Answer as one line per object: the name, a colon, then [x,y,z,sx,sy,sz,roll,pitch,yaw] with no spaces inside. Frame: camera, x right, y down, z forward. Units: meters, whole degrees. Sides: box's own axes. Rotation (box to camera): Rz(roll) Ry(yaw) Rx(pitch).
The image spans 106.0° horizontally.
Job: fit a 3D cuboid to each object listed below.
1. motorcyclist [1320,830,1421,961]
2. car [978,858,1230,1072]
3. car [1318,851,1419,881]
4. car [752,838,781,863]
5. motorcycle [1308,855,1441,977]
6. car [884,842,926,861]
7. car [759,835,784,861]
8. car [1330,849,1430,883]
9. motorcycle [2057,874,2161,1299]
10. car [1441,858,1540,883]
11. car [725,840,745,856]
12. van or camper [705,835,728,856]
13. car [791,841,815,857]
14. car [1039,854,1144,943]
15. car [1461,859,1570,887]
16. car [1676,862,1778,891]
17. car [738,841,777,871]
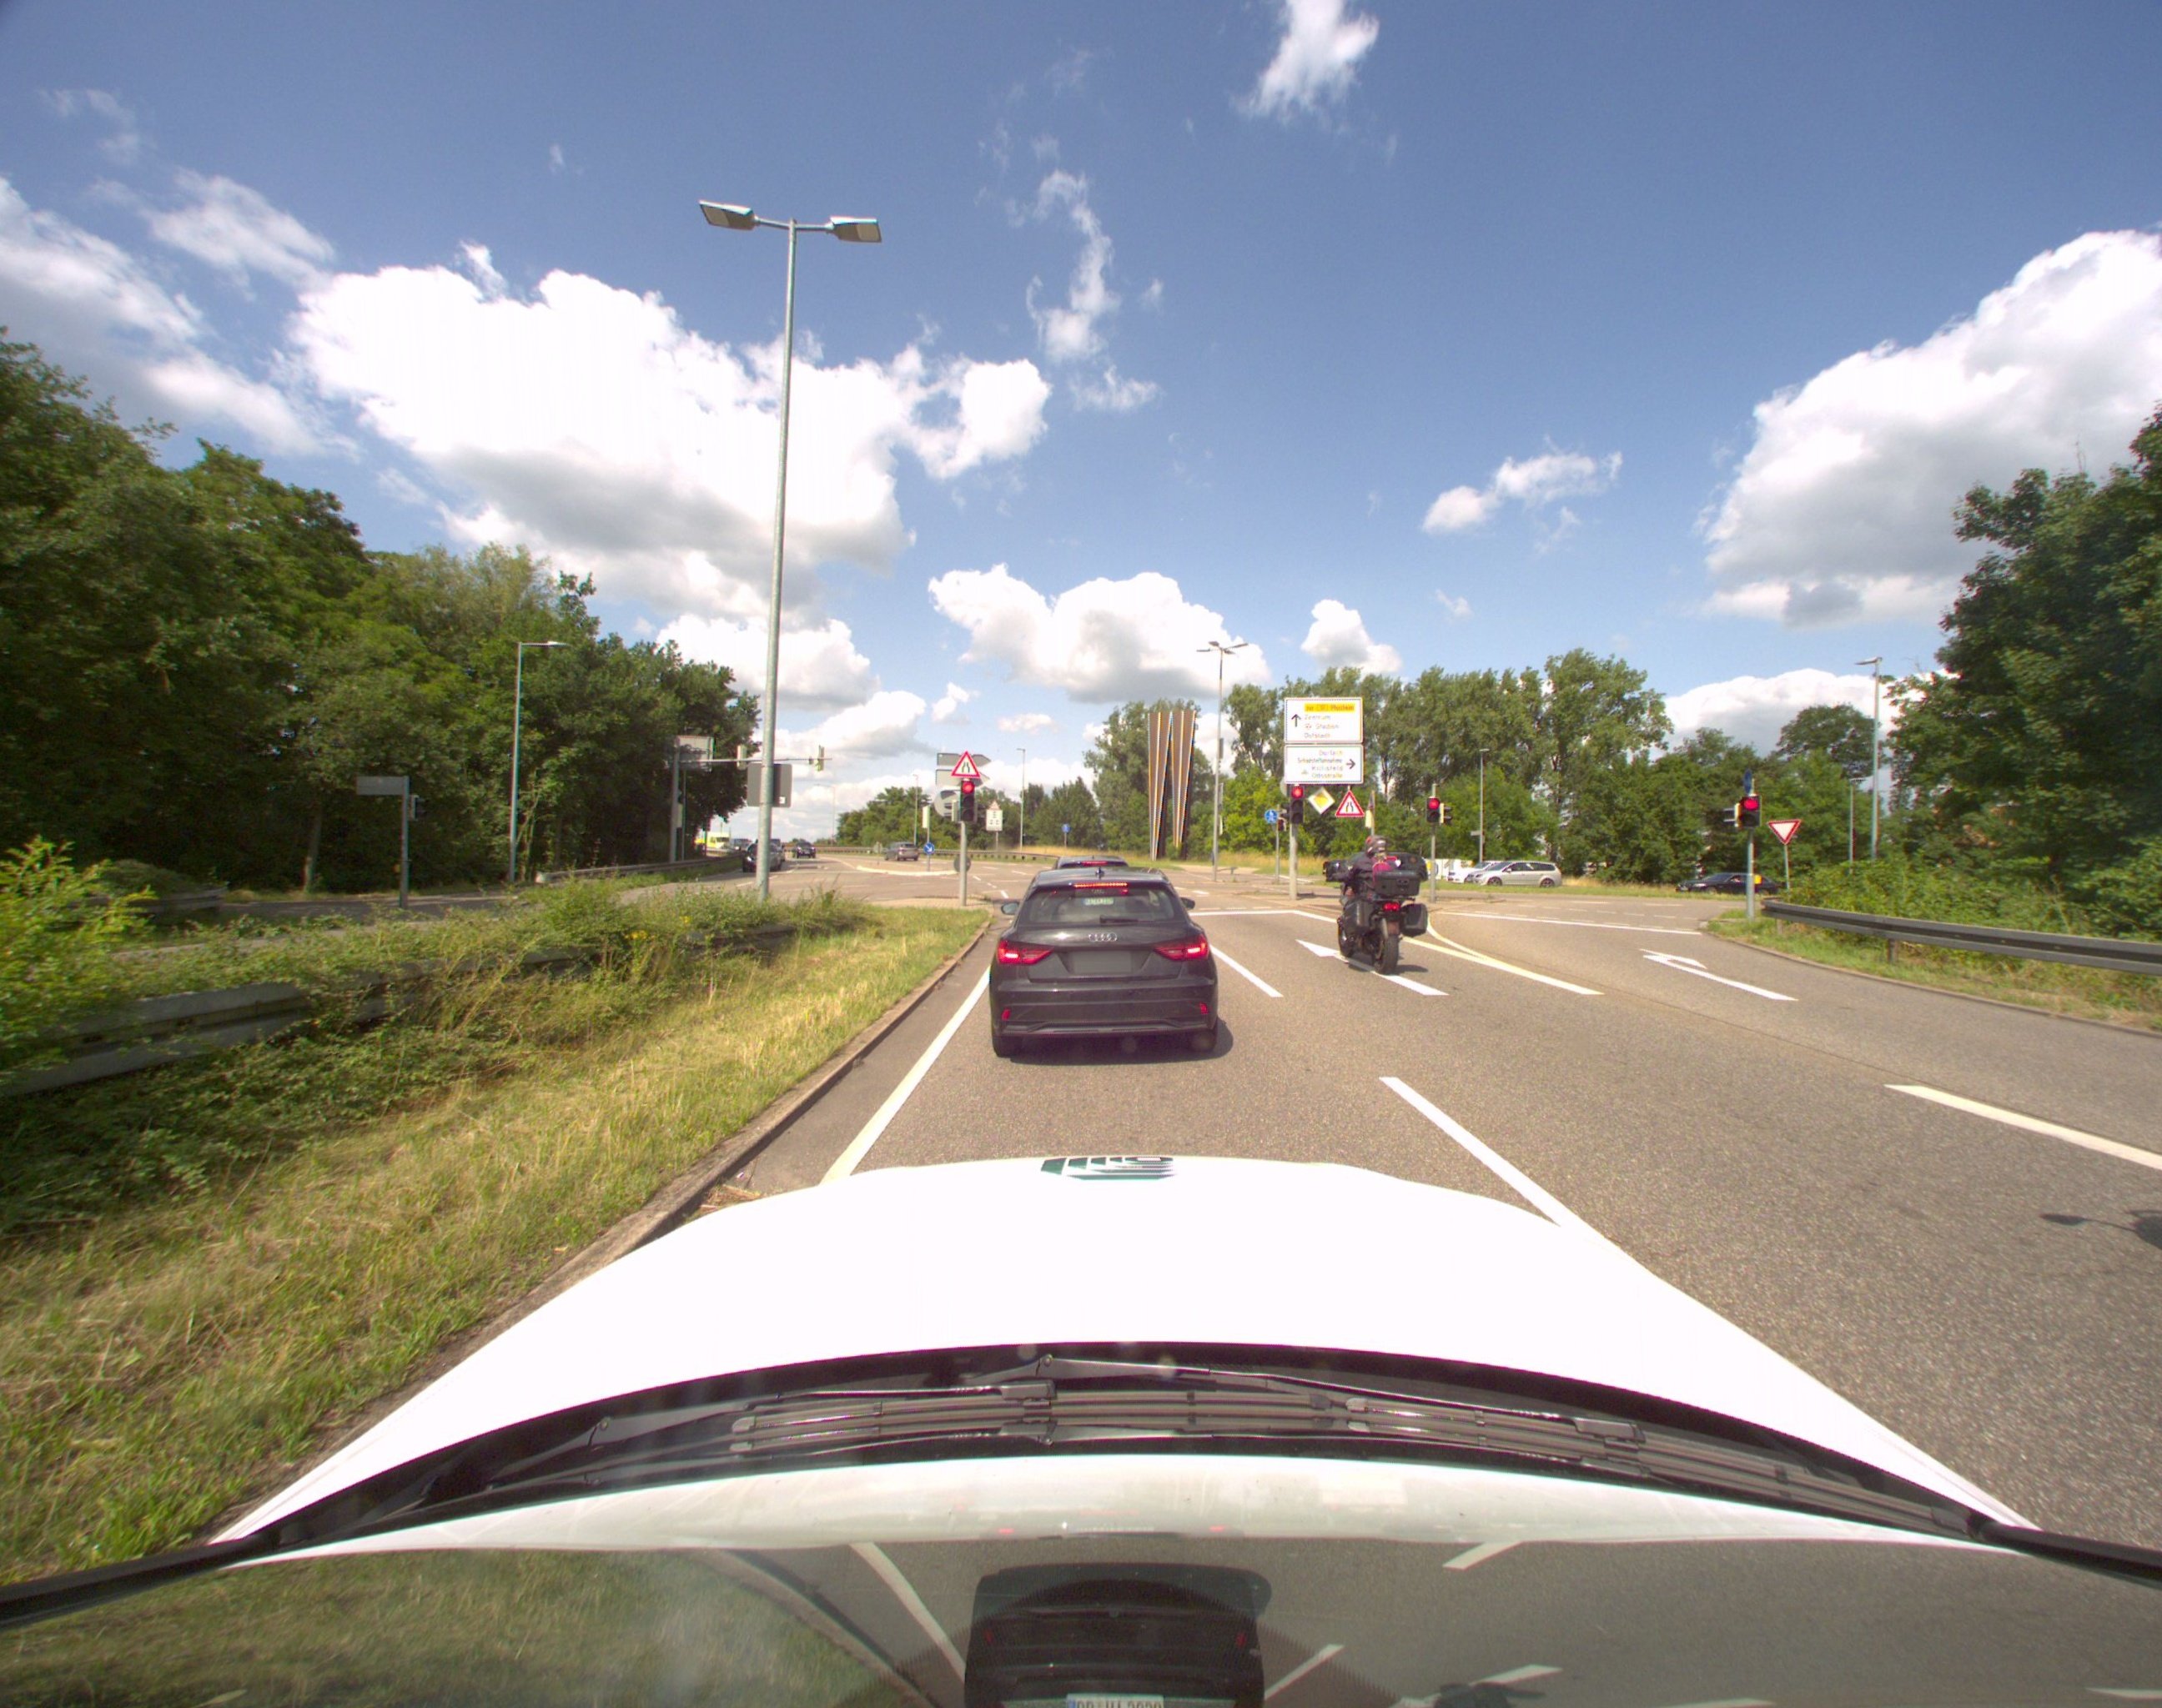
motorcyclist: [3.691,0.508,10.476,0.933,1.590,1.084,0,0,1]
car: [0.220,0.781,7.652,1.720,1.404,4.002,-1,0,2]
car: [15.312,0.631,43.512,4.831,1.545,1.737,1,0,0]
car: [-23.195,-0.238,60.210,1.849,1.802,4.299,1,0,-19]
motorcycle: [3.690,0.715,10.506,0.933,1.383,2.371,0,0,2]
car: [-14.341,-0.209,66.119,2.008,1.496,4.077,1,0,-34]
car: [-25.748,-0.482,67.622,1.850,2.100,4.295,1,0,-22]
car: [14.525,0.574,39.675,4.253,1.545,1.737,1,0,0]
motorcycle: [3.968,0.782,1.785,0.862,1.389,2.371,0,0,2]
car: [21.940,0.889,43.681,4.481,1.281,1.736,0,0,-2]
car: [-38.808,-0.633,91.264,1.853,1.705,4.289,1,0,-26]
van or camper: [-46.605,-1.070,103.931,2.006,2.683,6.798,0,0,-30]
car: [-26.868,-0.448,78.672,1.740,1.496,4.012,1,0,-26]
car: [0.106,0.738,15.461,1.722,1.423,3.841,-1,0,-2]
car: [21.114,0.911,39.695,4.460,1.320,1.736,0,0,-2]
car: [34.947,1.212,44.130,4.212,1.476,1.736,0,0,-2]
car: [-18.261,0.139,46.153,1.844,1.618,3.974,0,-1,-19]
